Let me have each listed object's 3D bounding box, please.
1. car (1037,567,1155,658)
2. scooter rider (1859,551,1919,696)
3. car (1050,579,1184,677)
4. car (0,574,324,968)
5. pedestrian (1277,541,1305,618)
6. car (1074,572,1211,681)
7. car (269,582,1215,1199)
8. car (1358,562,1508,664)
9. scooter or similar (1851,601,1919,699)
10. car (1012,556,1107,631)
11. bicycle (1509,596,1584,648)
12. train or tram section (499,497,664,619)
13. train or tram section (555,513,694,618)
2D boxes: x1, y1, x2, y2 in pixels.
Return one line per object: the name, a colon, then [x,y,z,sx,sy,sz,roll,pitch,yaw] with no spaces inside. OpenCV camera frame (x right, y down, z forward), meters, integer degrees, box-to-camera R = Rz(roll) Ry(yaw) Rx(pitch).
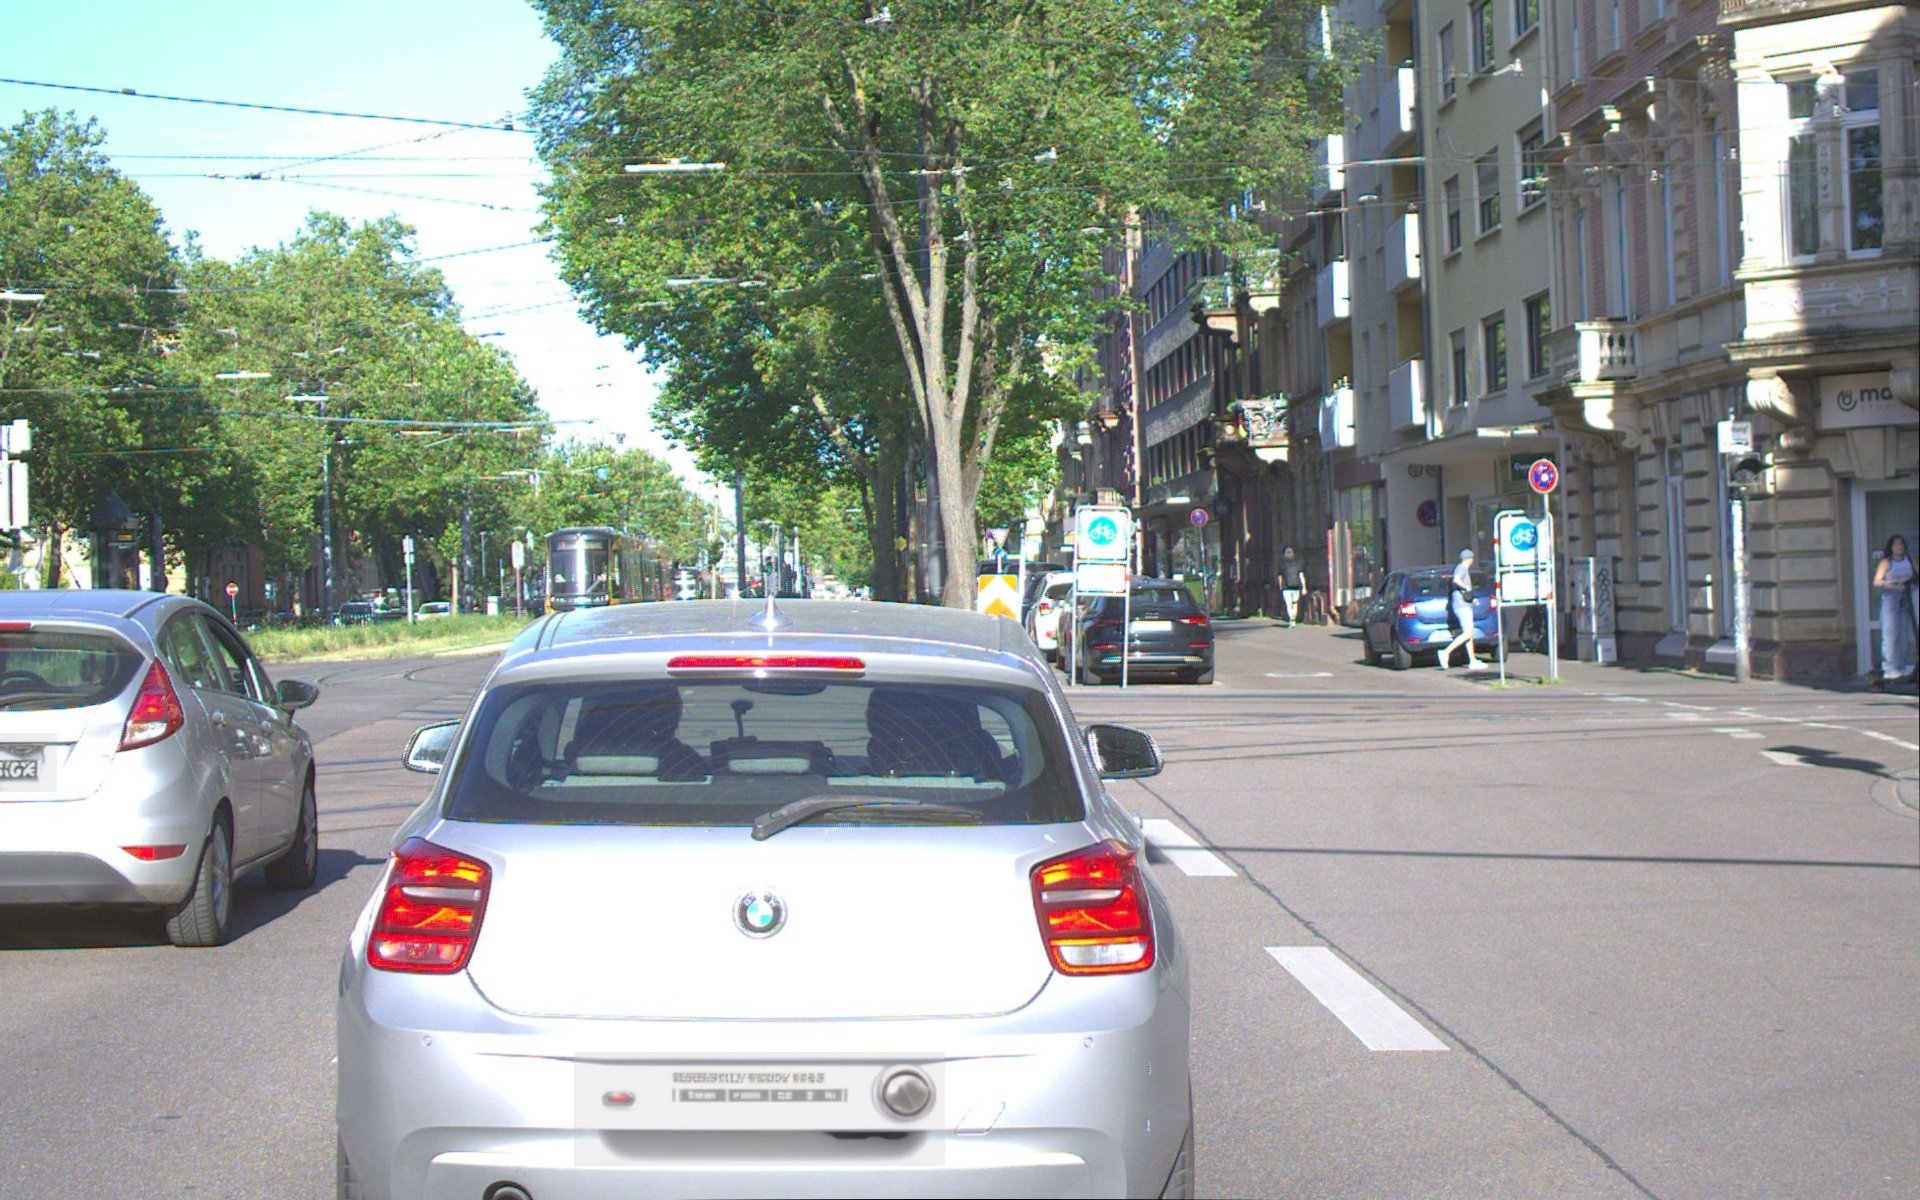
car: [2.274,0.186,58.410,1.724,1.502,3.555,0,1,-2]
scooter rider: [9.884,0.237,36.112,0.465,1.500,0.811,-2,1,-17]
car: [2.368,0.398,52.622,1.743,1.428,3.555,0,1,-2]
car: [-3.842,0.644,14.968,1.609,1.462,3.890,-1,1,-3]
pedestrian: [7.745,-0.482,80.415,0.505,1.796,0.805,-2,1,-1]
car: [2.470,0.330,47.232,1.735,1.428,3.678,0,1,1]
car: [-0.436,0.702,8.340,1.740,1.462,4.000,0,1,-1]
car: [7.278,0.170,53.172,1.735,1.514,3.637,0,1,-2]
scooter or similar: [9.850,0.516,36.082,0.337,0.984,1.284,-2,1,-17]
car: [2.046,-0.154,71.241,1.724,1.502,3.555,0,1,-2]
bicycle: [9.100,0.330,53.422,0.754,0.768,1.945,-1,1,-2]
train or tram section: [-12.939,-1.441,119.542,3.969,3.852,17.489,-1,1,-1]
train or tram section: [-13.187,-1.393,137.092,4.005,3.852,17.489,-1,1,-1]
